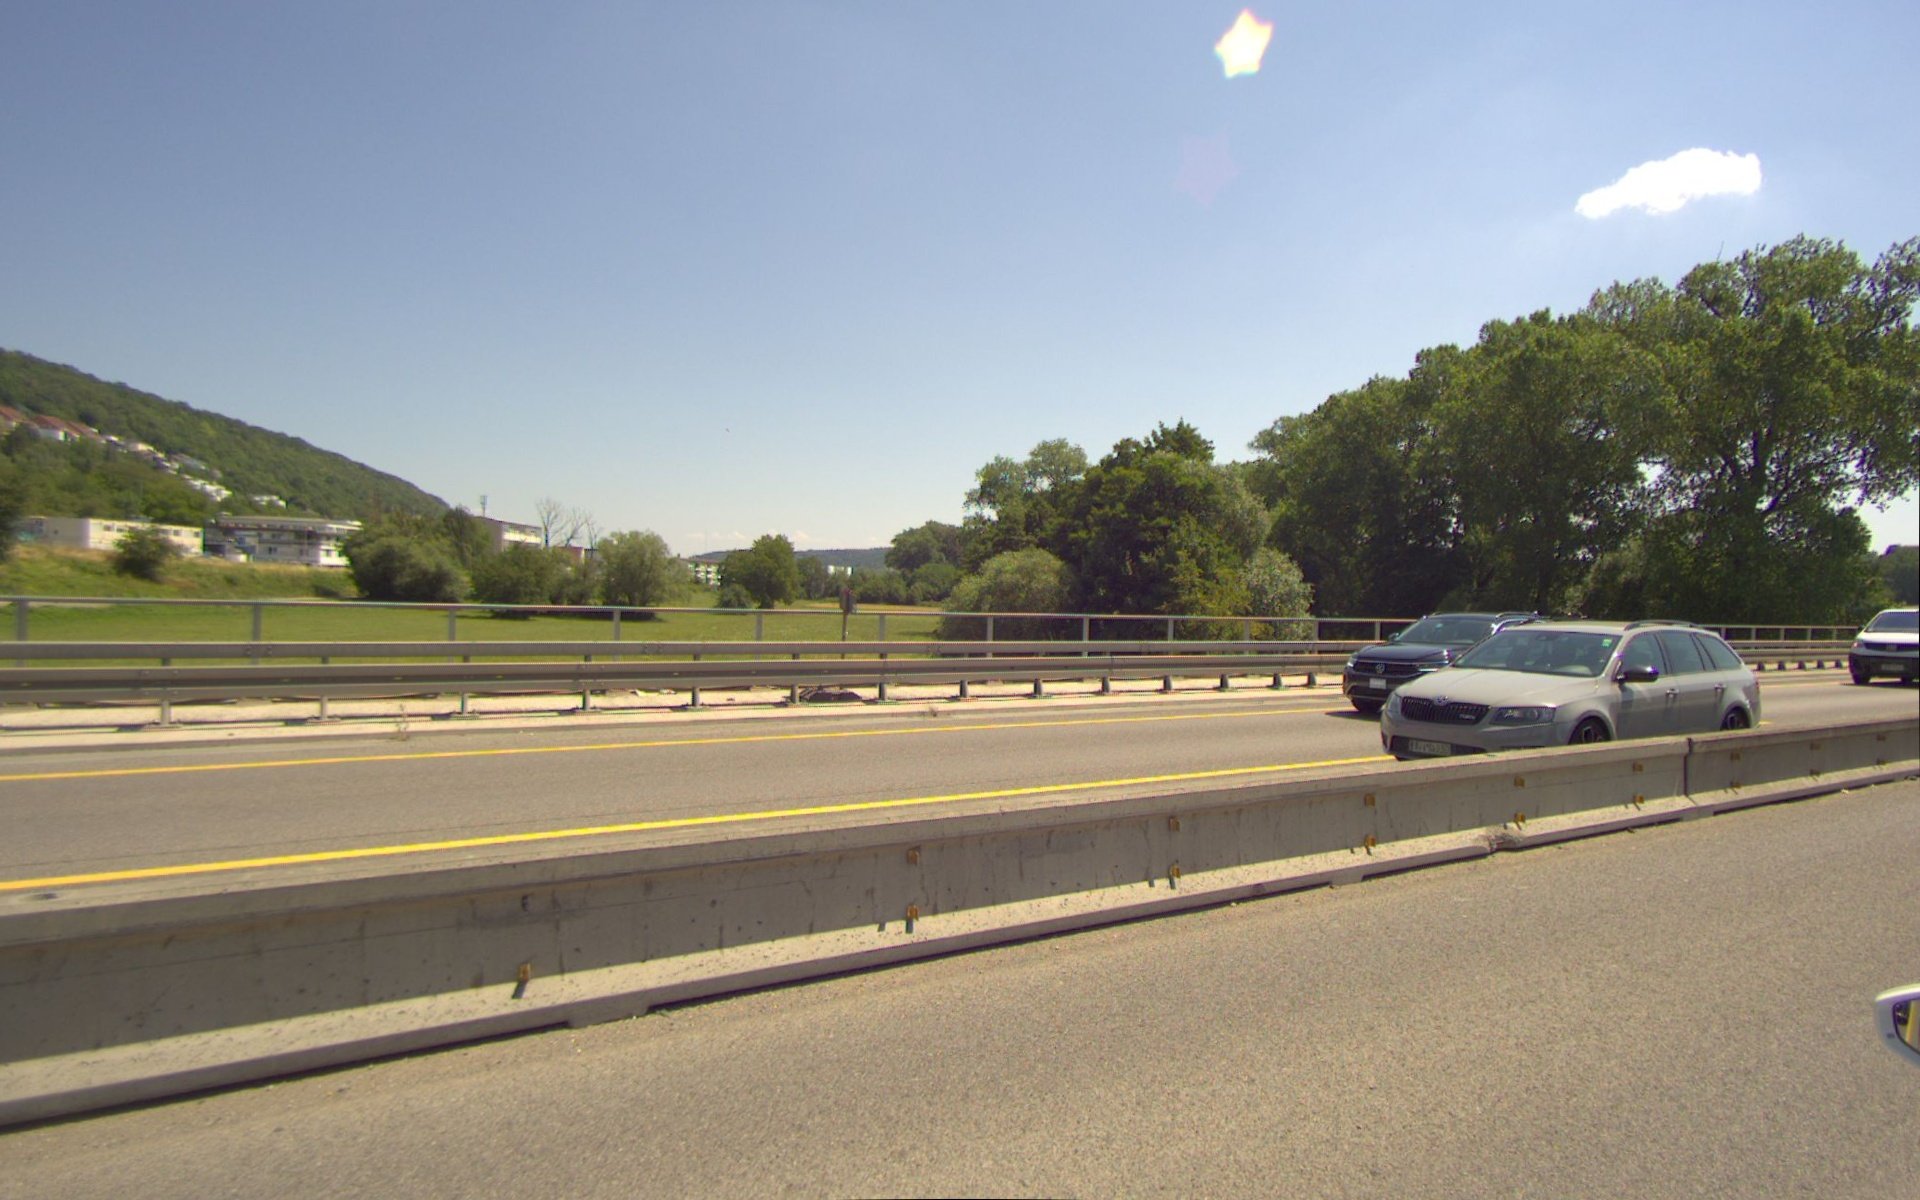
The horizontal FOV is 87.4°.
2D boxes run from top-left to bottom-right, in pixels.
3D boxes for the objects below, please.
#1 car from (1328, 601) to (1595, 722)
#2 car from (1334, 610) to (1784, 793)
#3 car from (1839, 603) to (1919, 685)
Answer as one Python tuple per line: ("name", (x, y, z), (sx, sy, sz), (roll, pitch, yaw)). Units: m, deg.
("car", (7.549, 0.843, 15.043), (3.955, 1.590, 1.804), (1, -1, -32))
("car", (5.966, 0.844, 9.867), (4.602, 1.437, 1.817), (1, -1, -30))
("car", (23.950, 1.060, 24.961), (4.575, 1.892, 1.850), (1, -1, -30))
